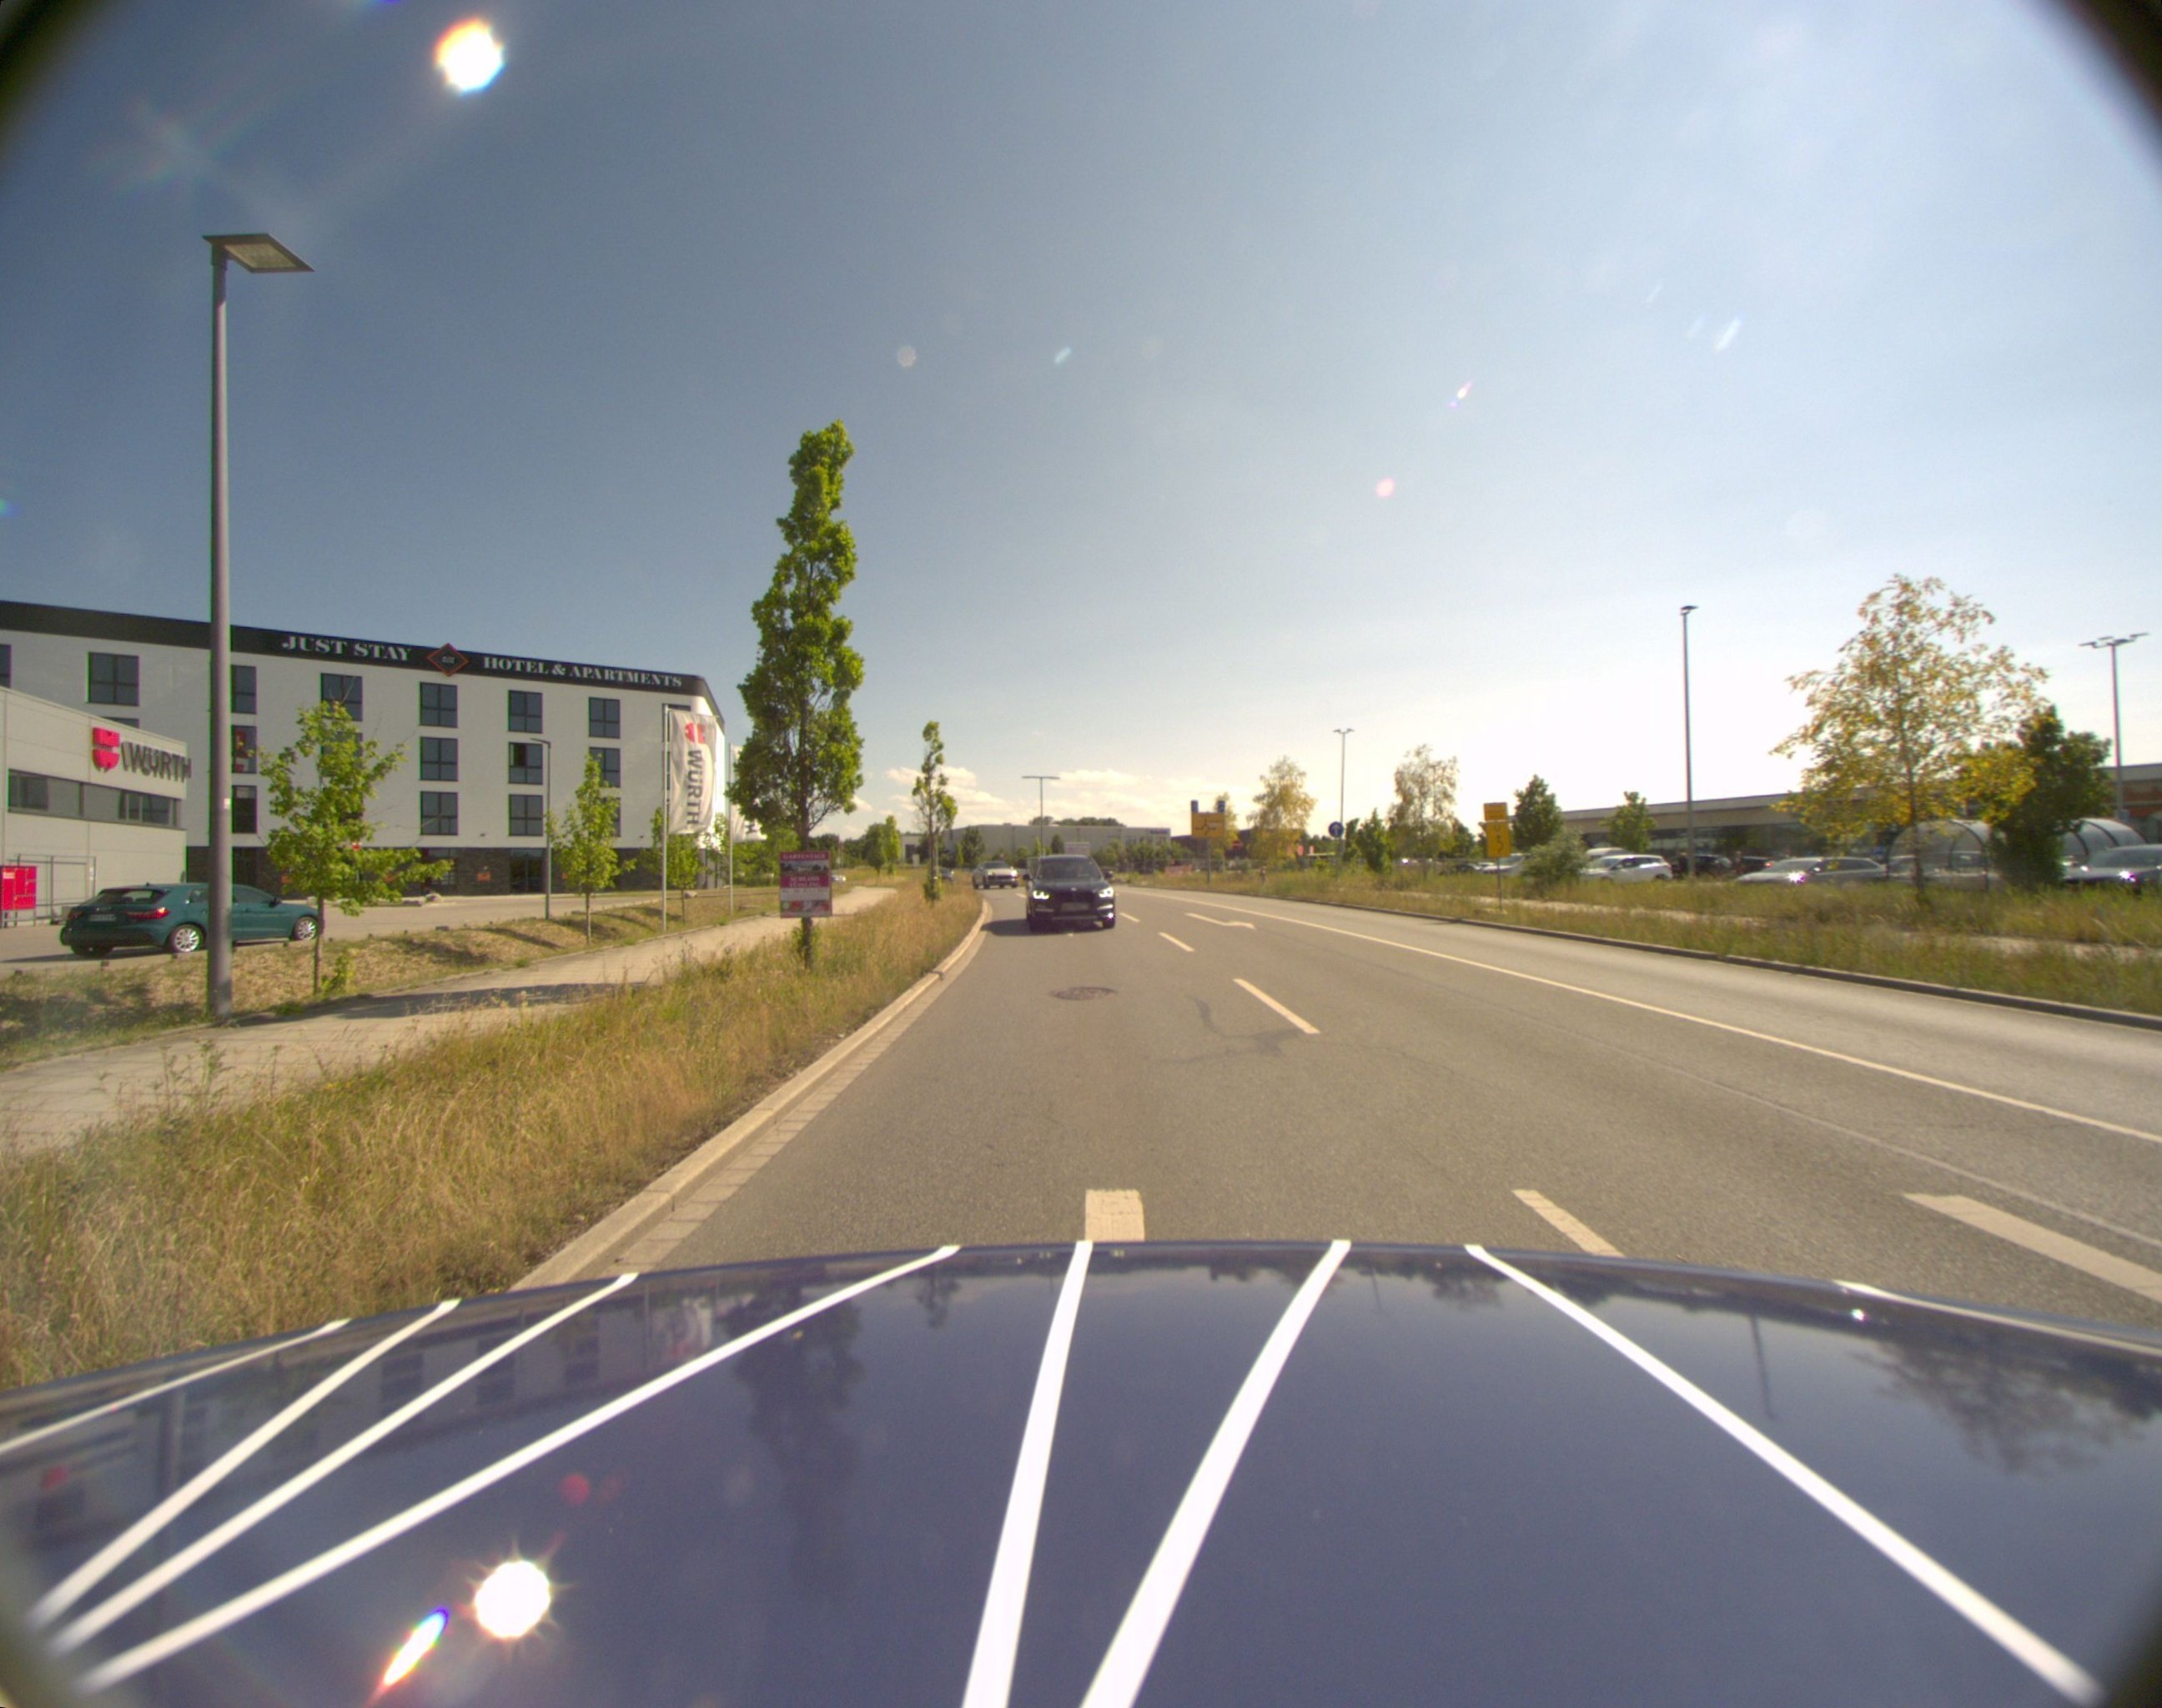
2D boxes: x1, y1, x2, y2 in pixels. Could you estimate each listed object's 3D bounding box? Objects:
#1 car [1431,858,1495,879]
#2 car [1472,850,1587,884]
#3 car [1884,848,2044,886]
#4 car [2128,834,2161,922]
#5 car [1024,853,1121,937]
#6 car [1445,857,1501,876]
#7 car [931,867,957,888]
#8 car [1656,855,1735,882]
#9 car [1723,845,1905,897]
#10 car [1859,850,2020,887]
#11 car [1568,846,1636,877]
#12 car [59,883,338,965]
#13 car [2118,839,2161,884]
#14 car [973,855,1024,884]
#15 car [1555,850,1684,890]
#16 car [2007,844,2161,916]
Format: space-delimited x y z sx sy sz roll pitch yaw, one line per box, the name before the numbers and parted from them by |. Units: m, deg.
car | 32.659 1.225 65.023 2.286 1.678 4.411 -1 0 -26
car | 23.193 0.658 39.310 5.199 1.662 1.998 -1 0 -14
car | 38.263 0.548 33.078 1.719 1.507 4.233 -1 0 -20
car | 26.848 0.492 16.655 5.698 1.953 1.999 -1 0 -6
car | -0.332 0.919 17.977 1.901 1.669 4.466 -2 -2 -5
car | 36.805 1.137 71.423 1.978 1.678 4.568 -1 0 -20
car | -11.752 1.999 64.972 1.759 1.677 4.375 -1 0 -17
car | 37.060 0.855 45.834 4.003 1.543 1.841 -1 0 -19
car | 25.351 0.579 26.375 4.716 1.662 1.999 -1 0 -7
car | 35.829 0.598 31.867 1.719 1.417 4.134 -1 -1 -20
car | 44.325 0.629 64.591 5.725 2.572 1.936 -1 0 -22
car | -18.407 1.372 16.174 1.518 1.399 3.998 -1 0 -6
car | 43.142 0.267 28.577 1.718 1.730 4.577 -1 0 -18
car | -5.129 1.016 46.552 2.117 1.633 4.771 -1 -2 -18
car | 24.136 0.705 34.152 4.604 1.662 1.999 -1 0 -8
car | 26.180 0.592 18.761 4.782 1.662 1.881 -1 0 -6
